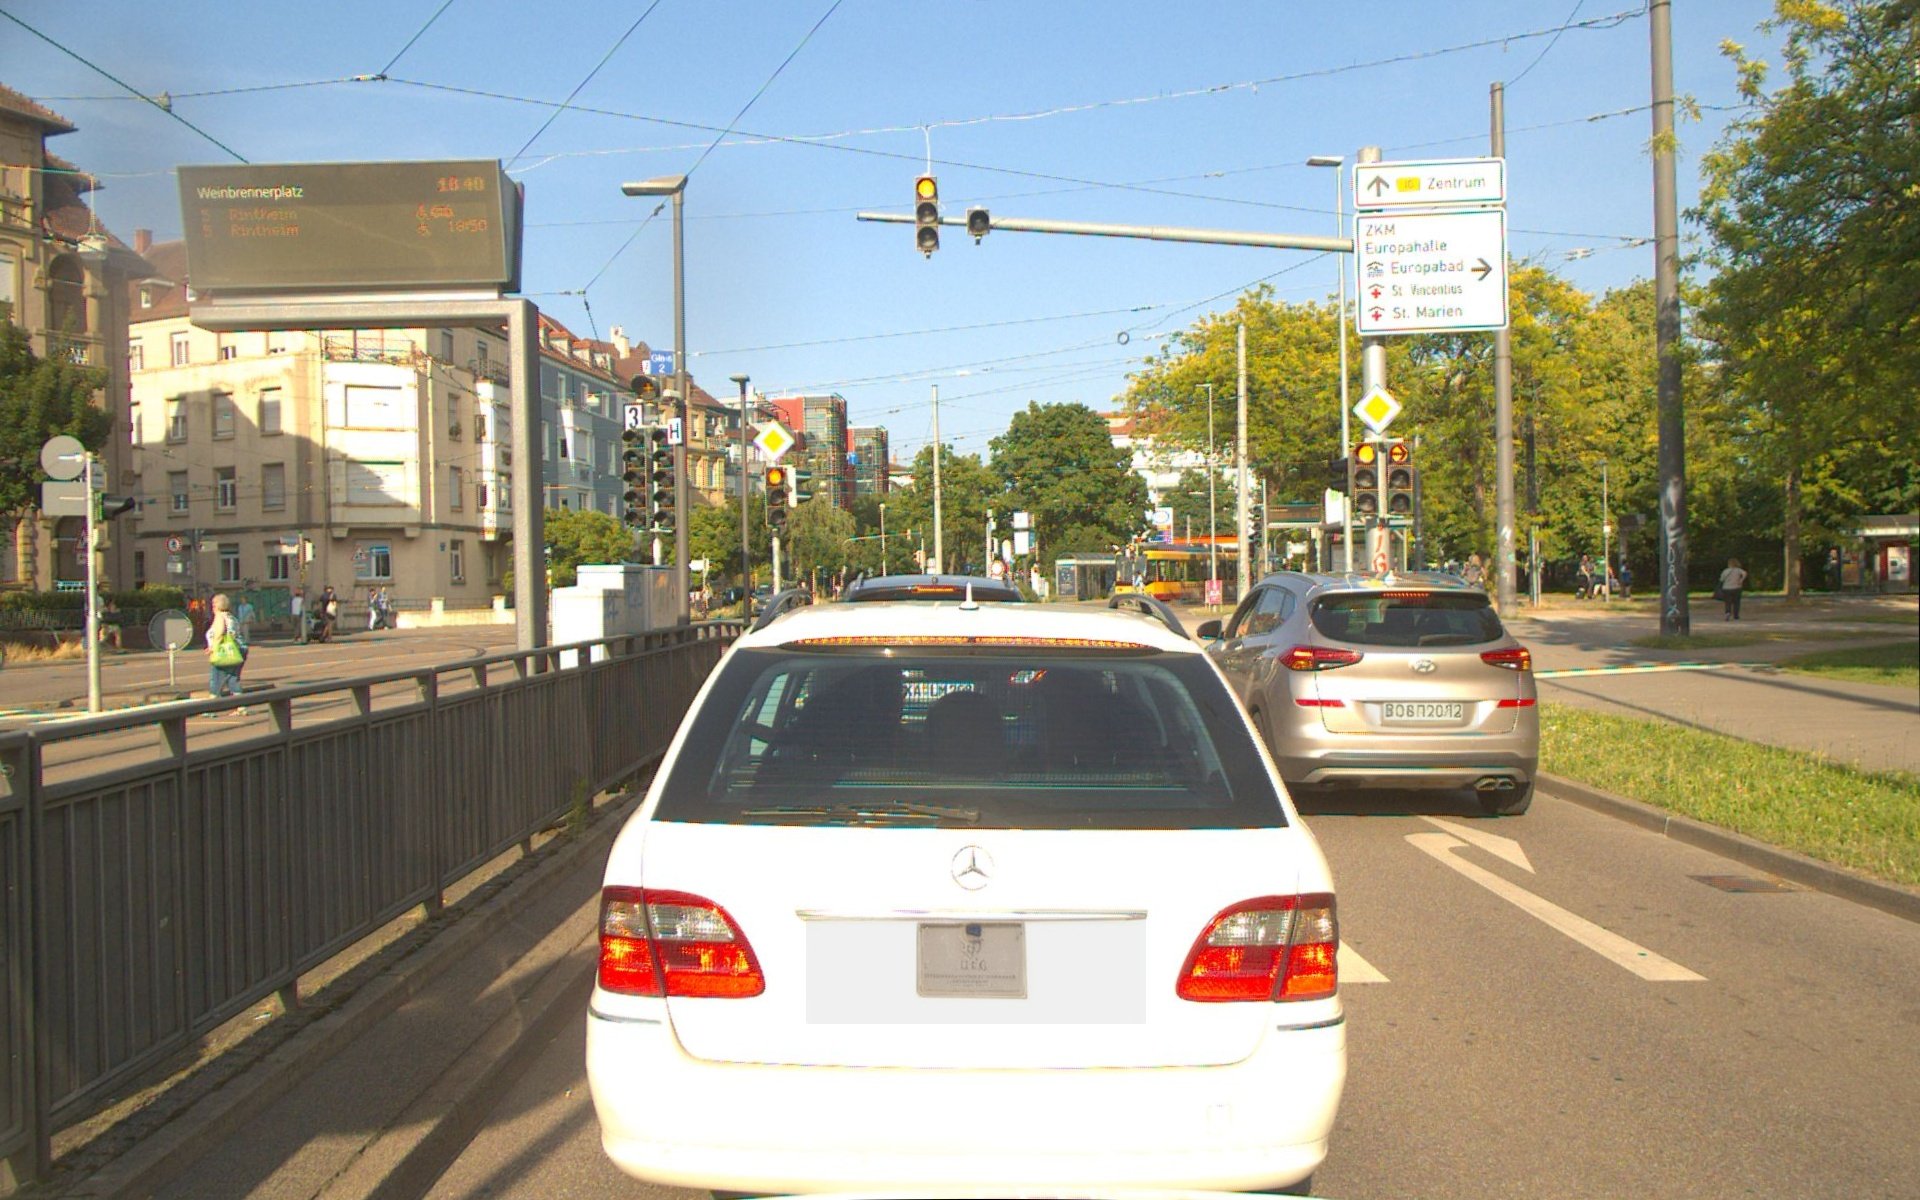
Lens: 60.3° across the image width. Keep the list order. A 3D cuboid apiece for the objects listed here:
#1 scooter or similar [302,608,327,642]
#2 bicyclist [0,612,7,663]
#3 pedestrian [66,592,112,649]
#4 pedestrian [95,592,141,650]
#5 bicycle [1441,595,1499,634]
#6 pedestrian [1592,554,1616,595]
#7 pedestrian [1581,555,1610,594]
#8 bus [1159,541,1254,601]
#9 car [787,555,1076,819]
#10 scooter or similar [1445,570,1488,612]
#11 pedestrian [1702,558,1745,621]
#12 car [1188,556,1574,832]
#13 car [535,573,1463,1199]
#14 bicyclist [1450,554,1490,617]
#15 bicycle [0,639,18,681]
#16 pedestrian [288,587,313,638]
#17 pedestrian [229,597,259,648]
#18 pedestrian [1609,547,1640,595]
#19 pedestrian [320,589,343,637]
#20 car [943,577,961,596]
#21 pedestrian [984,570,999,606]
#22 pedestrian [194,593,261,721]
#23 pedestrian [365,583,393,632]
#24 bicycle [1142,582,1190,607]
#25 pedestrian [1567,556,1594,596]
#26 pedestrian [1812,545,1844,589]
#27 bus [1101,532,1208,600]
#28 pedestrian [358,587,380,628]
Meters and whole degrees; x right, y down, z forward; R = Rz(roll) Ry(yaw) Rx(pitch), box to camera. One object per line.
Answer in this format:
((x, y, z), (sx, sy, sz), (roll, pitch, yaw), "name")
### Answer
((-21.152, 0.830, 54.176), (0.532, 1.098, 0.683), (1, 0, -1), "scooter or similar")
((-20.223, 0.795, 34.298), (0.502, 1.062, 0.679), (-1, 0, 1), "bicyclist")
((-24.391, 0.573, 46.328), (0.812, 1.579, 0.782), (-1, 0, 21), "pedestrian")
((-23.482, 0.591, 46.119), (0.812, 1.579, 0.782), (-1, 0, 21), "pedestrian")
((10.714, 0.291, 34.800), (0.485, 0.770, 2.168), (-2, 0, -1), "bicycle")
((24.607, -0.970, 63.234), (0.797, 1.513, 0.700), (-1, 0, 24), "pedestrian")
((24.868, -0.989, 64.749), (0.799, 1.513, 0.699), (-1, 0, -12), "pedestrian")
((16.472, -1.803, 109.442), (3.046, 3.669, 12.585), (1, 0, 23), "bus")
((-0.202, 0.553, 12.527), (1.846, 1.680, 3.647), (1, 0, -1), "car")
((14.008, -0.242, 45.795), (0.413, 1.136, 1.322), (-1, 0, -20), "scooter or similar")
((20.639, -0.291, 44.688), (0.748, 1.665, 0.797), (-2, 0, -40), "pedestrian")
((2.894, 0.573, 12.204), (1.846, 1.680, 3.647), (-2, 0, -1), "car")
((0.046, 0.685, 4.961), (1.759, 1.496, 3.647), (0, 0, -1), "car")
((10.690, -0.305, 34.697), (0.523, 1.284, 0.869), (-1, 0, -1), "bicyclist")
((-20.219, 1.263, 34.179), (0.515, 0.849, 1.686), (-1, 0, 1), "bicycle")
((-21.320, 0.401, 53.495), (0.497, 1.654, 0.609), (-1, 0, 5), "pedestrian")
((-22.719, 0.703, 52.514), (0.616, 1.568, 0.711), (-1, 0, -1), "pedestrian")
((25.886, -1.119, 64.409), (0.784, 1.816, 0.838), (-1, 0, -5), "pedestrian")
((-20.433, 0.412, 53.735), (0.428, 1.527, 0.549), (-1, 0, 14), "pedestrian")
((-0.913, -1.435, 182.615), (1.953, 2.049, 3.999), (1, 0, -1), "car")
((1.663, -0.614, 87.453), (0.628, 1.889, 0.552), (-1, 0, 11), "pedestrian")
((-9.553, 0.726, 21.584), (0.601, 1.627, 0.632), (-1, 0, -7), "pedestrian")
((-24.537, 0.300, 69.844), (0.758, 2.049, 0.787), (-1, 0, 14), "pedestrian")
((10.567, -0.279, 84.952), (2.430, 1.234, 0.807), (-1, 0, 7), "bicycle")
((24.060, -0.924, 64.129), (0.809, 1.513, 0.690), (-2, 0, -42), "pedestrian")
((33.475, -1.272, 63.779), (0.818, 1.665, 0.803), (-1, 0, 5), "pedestrian")
((11.685, -1.894, 97.958), (3.045, 3.669, 12.372), (1, 0, 22), "bus")
((-24.618, 0.319, 68.937), (0.606, 1.689, 0.586), (-1, 0, 14), "pedestrian")
